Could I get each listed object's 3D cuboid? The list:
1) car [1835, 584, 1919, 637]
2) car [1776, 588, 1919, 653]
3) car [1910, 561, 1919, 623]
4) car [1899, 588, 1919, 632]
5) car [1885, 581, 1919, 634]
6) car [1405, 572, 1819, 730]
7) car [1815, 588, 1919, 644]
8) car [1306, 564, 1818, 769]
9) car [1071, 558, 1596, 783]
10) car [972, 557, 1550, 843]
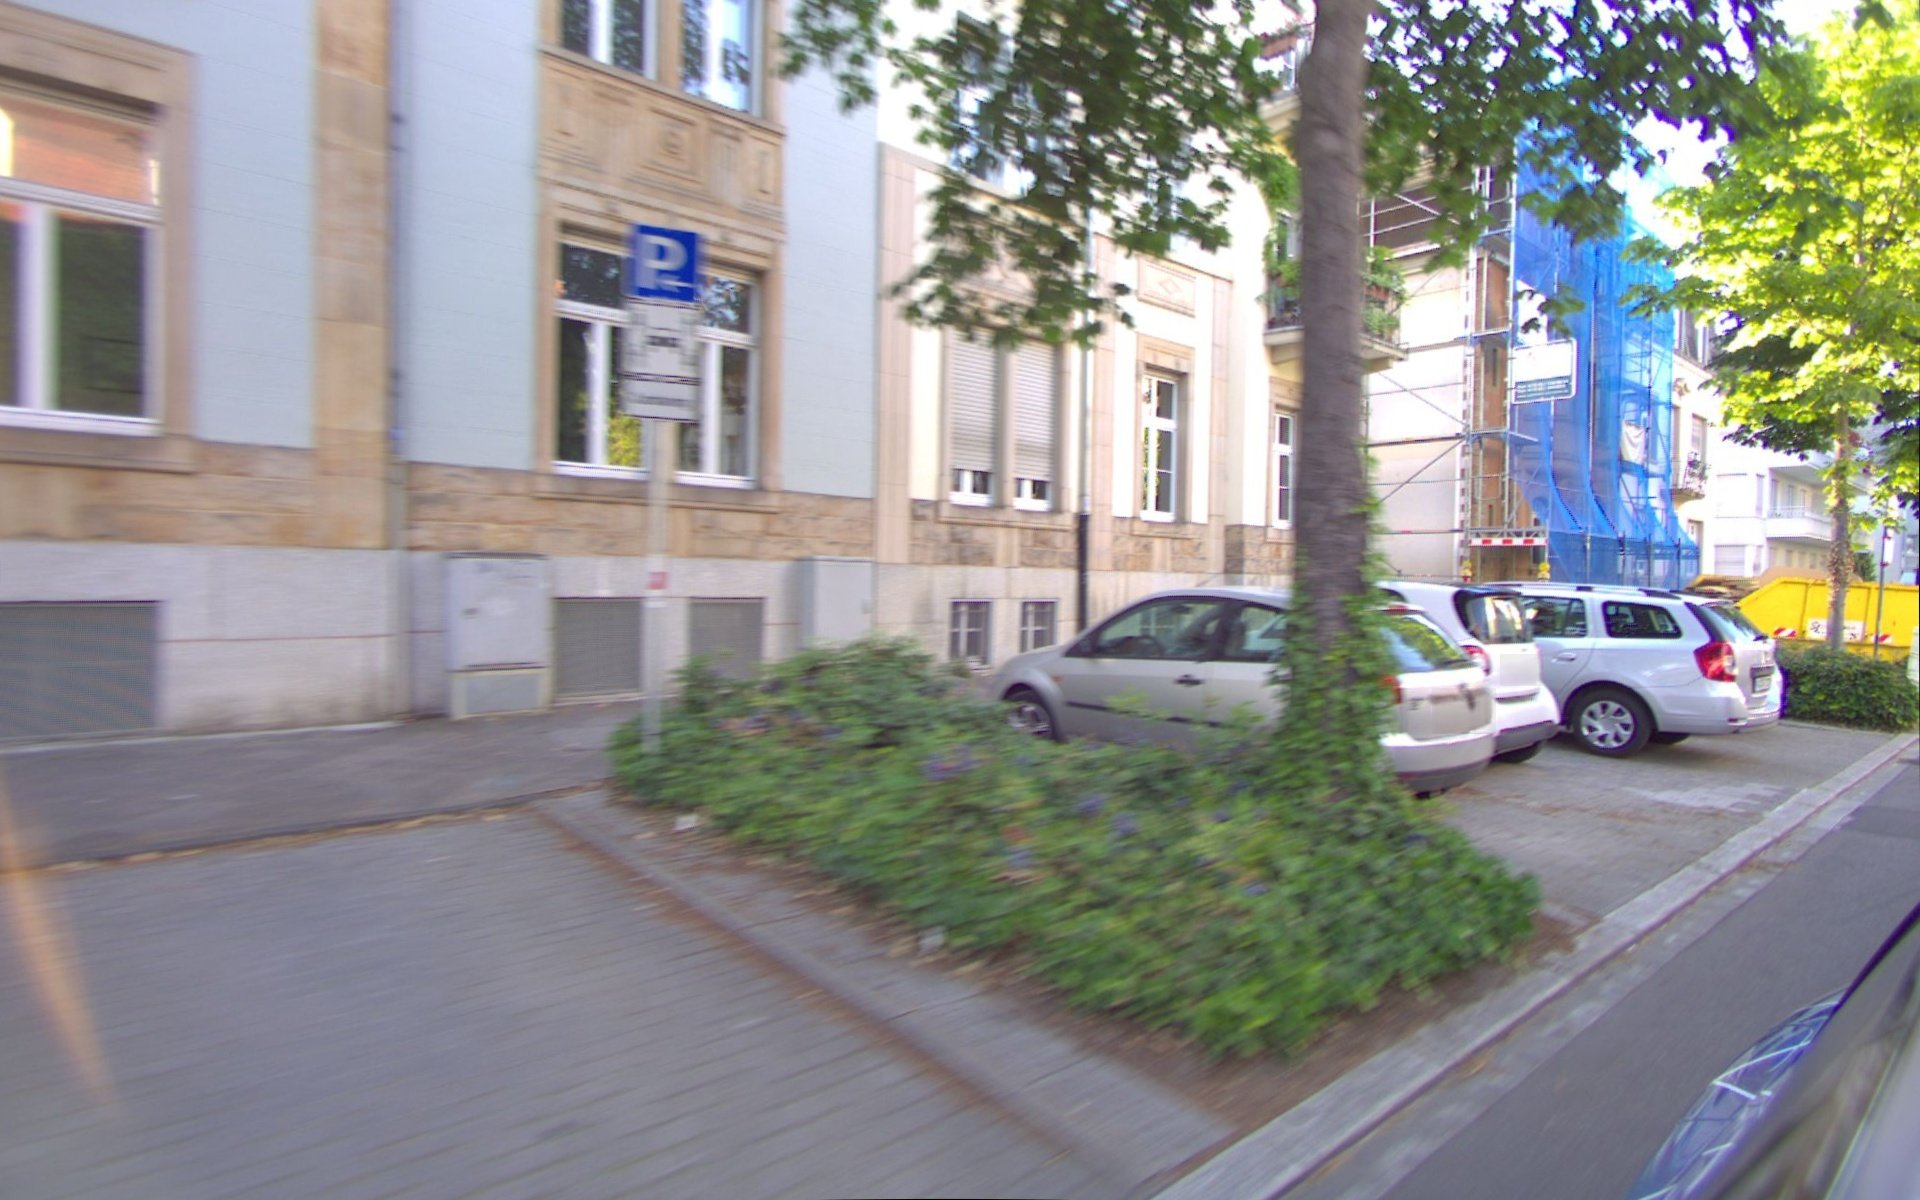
[{"bbox_3d":[32.506,0.393,34.110,1.677,1.703,4.338,1,2,-43],"label":"car"},{"bbox_3d":[24.168,0.530,26.523,1.817,1.510,3.998,0,3,-39],"label":"car"},{"bbox_3d":[48.301,-0.300,47.606,2.041,2.938,5.102,0,2,-43],"label":"car"},{"bbox_3d":[40.743,0.457,40.772,4.174,1.745,1.739,2,2,43],"label":"car"},{"bbox_3d":[38.691,0.303,38.912,1.864,2.039,4.476,0,1,-42],"label":"car"},{"bbox_3d":[7.700,0.476,12.305,1.655,1.480,3.866,0,3,-35],"label":"car"},{"bbox_3d":[29.402,0.522,31.369,1.819,1.558,4.165,0,3,-41],"label":"car"},{"bbox_3d":[5.882,0.485,10.369,1.656,1.553,4.156,0,3,-38],"label":"car"},{"bbox_3d":[3.269,0.446,9.615,1.796,1.553,4.324,0,3,-40],"label":"car"},{"bbox_3d":[1.977,0.483,7.498,1.704,1.480,3.756,0,3,-40],"label":"car"}]
